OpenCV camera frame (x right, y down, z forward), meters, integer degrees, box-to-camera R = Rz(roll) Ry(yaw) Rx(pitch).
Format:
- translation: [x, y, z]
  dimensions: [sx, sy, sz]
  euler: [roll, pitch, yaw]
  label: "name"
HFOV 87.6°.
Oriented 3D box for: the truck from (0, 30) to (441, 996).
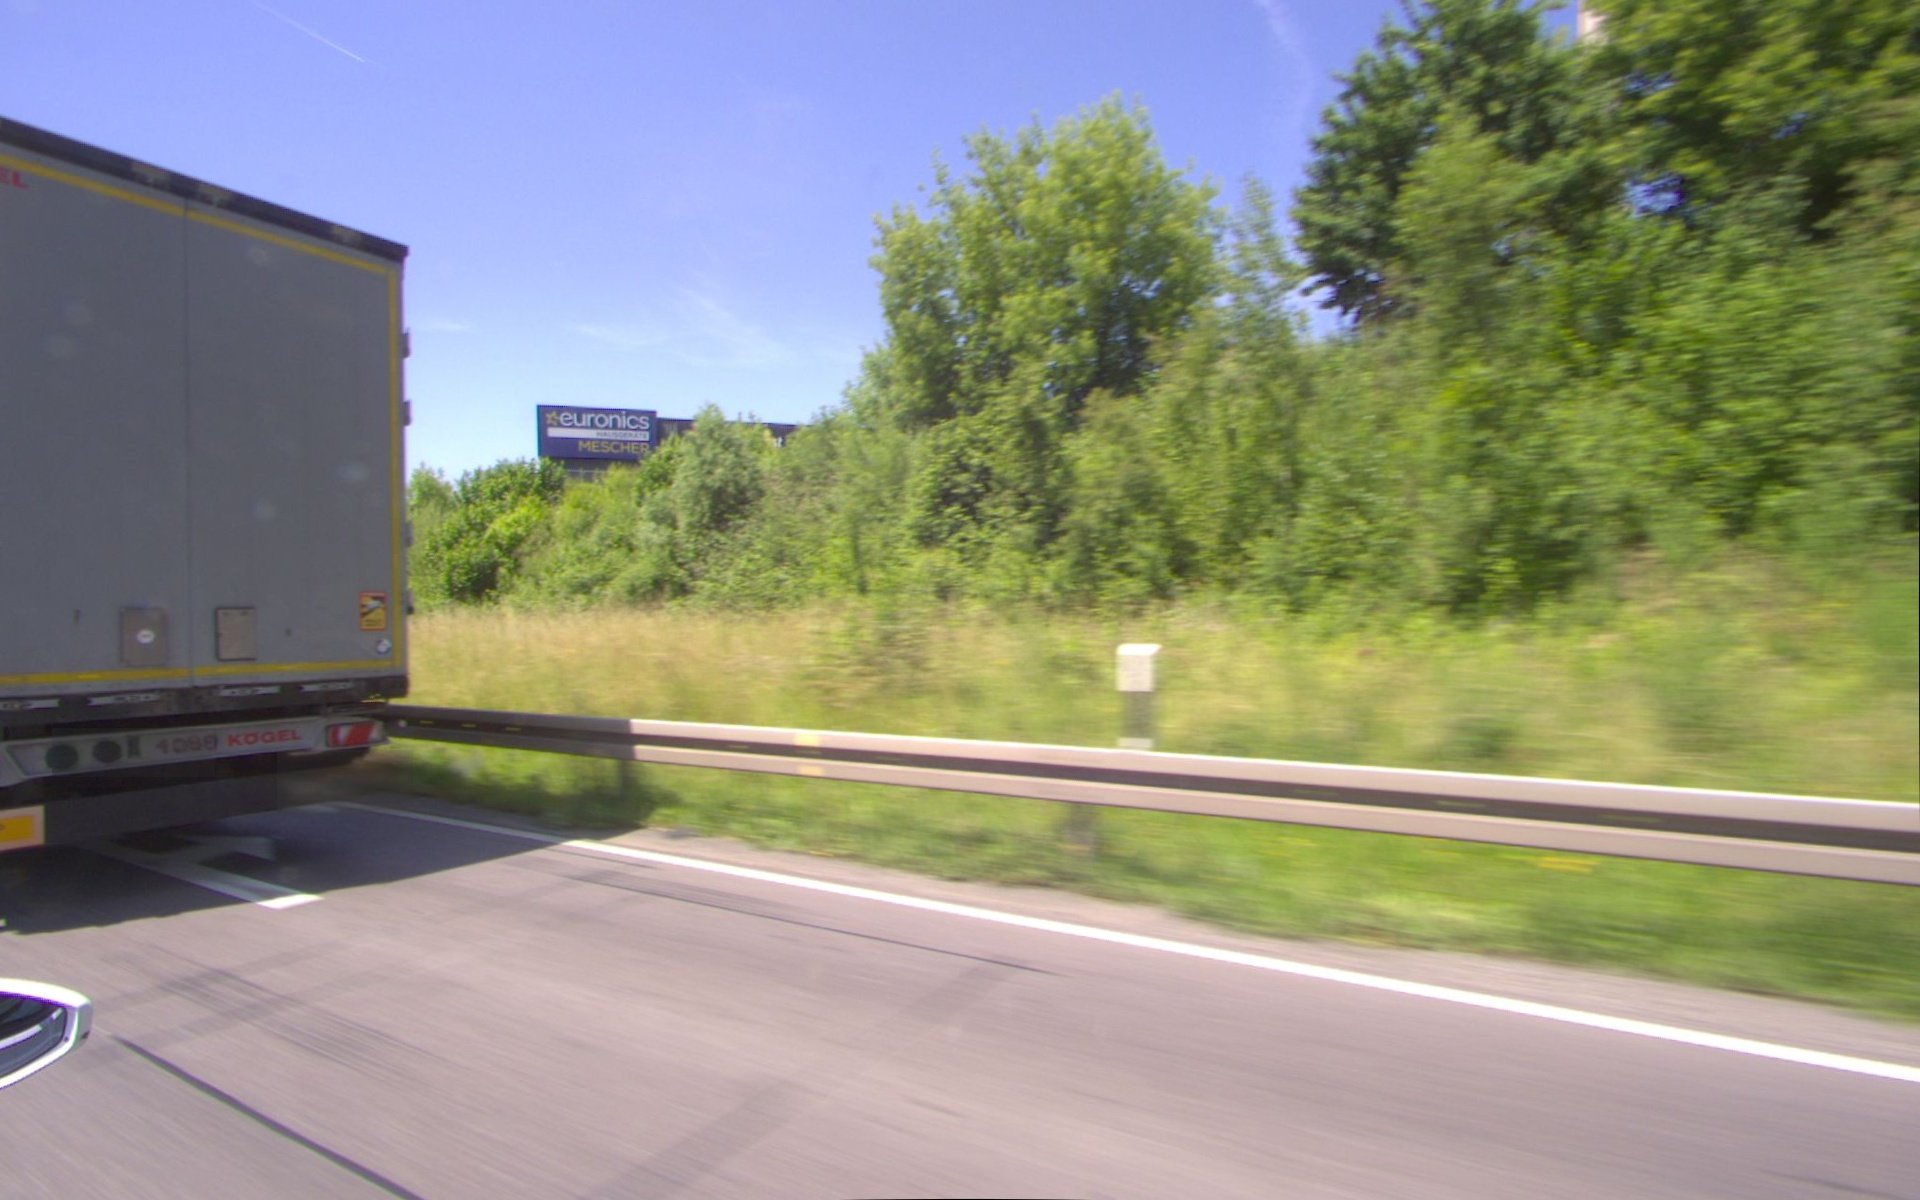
- translation: [-11.191, -0.126, 9.916]
  dimensions: [16.419, 4.698, 2.751]
  euler: [-2, -2, 32]
  label: "truck"
